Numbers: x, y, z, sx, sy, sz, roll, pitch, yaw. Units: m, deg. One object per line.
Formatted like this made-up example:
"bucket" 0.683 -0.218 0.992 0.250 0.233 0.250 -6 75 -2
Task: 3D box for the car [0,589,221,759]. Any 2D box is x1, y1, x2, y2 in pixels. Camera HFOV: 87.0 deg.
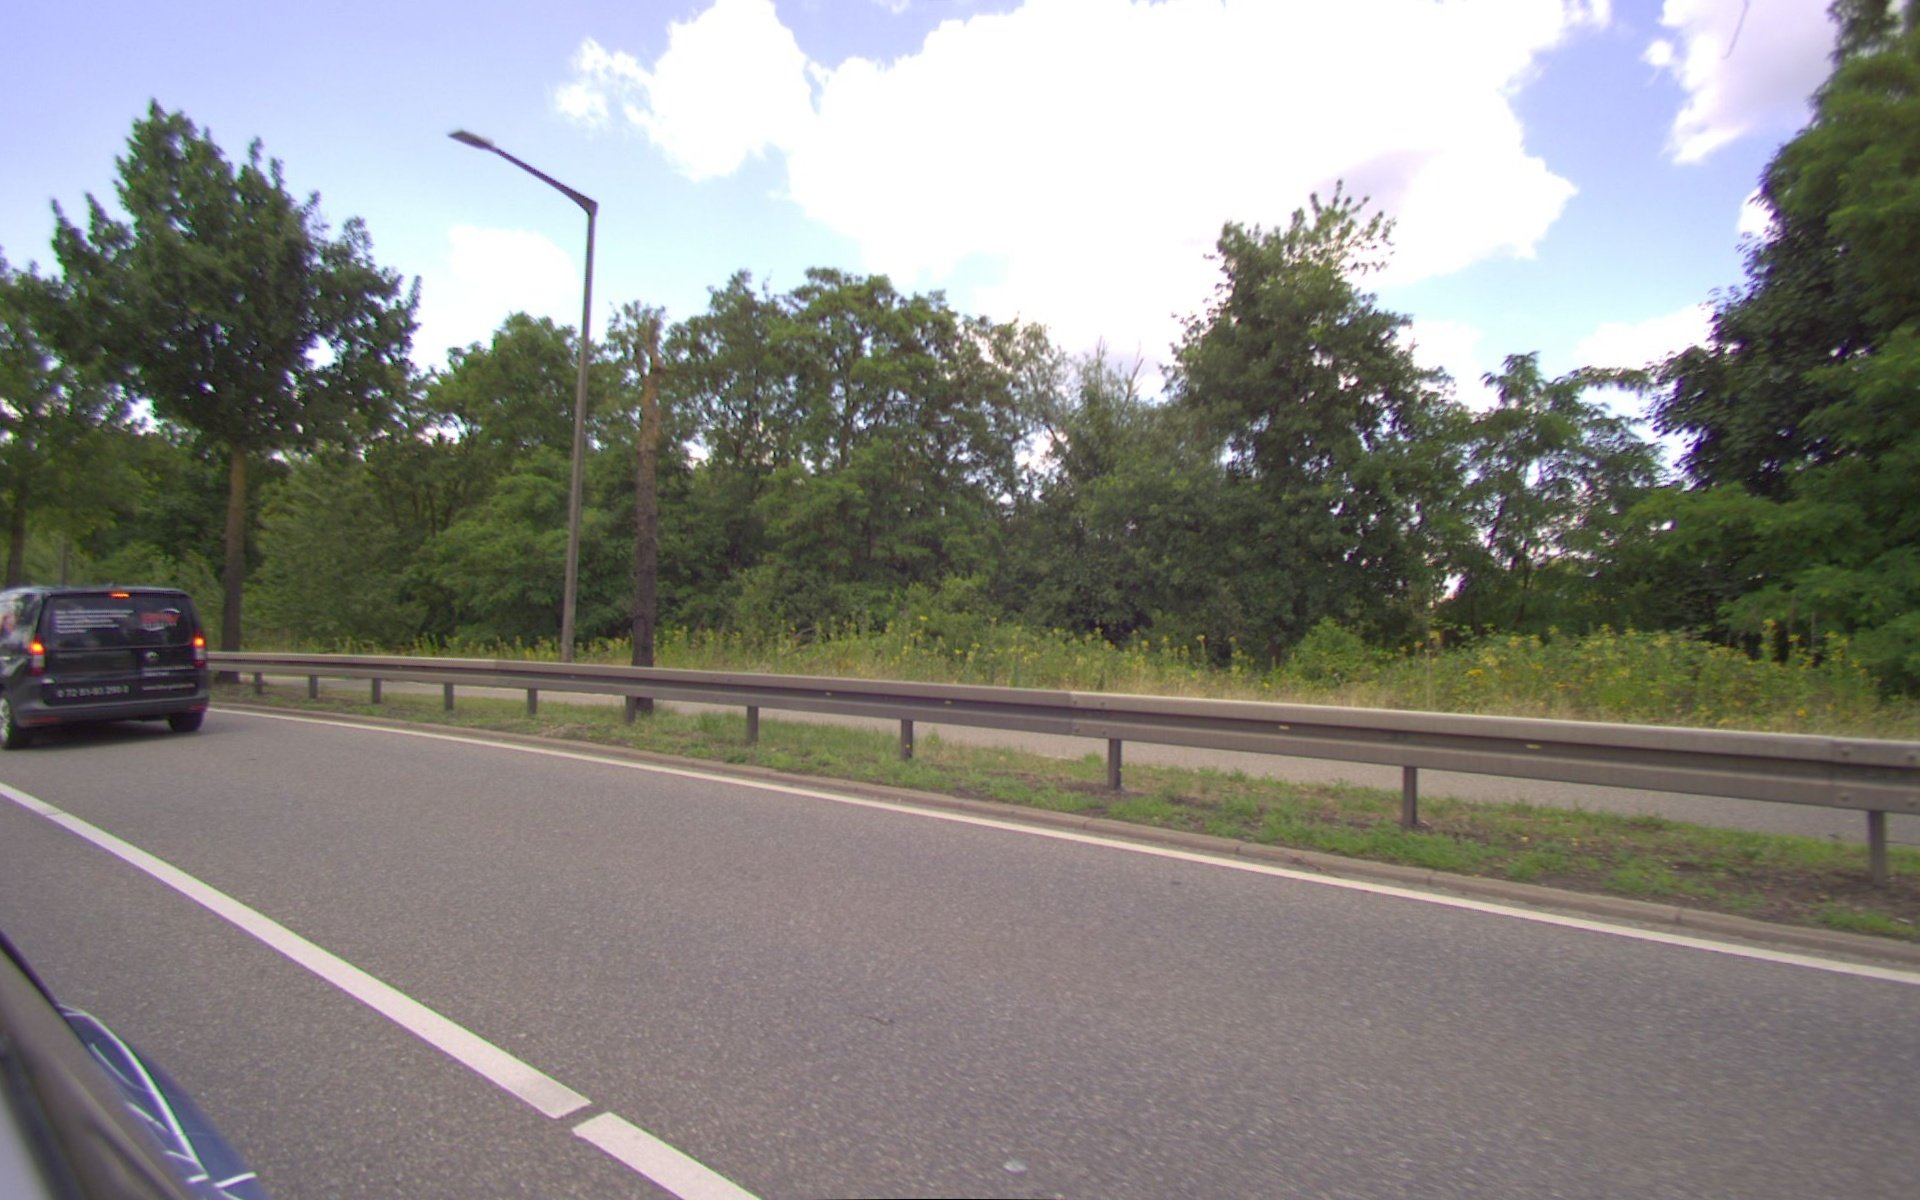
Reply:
"car" -10.965 0.790 12.299 4.300 1.722 1.837 -2 0 34
